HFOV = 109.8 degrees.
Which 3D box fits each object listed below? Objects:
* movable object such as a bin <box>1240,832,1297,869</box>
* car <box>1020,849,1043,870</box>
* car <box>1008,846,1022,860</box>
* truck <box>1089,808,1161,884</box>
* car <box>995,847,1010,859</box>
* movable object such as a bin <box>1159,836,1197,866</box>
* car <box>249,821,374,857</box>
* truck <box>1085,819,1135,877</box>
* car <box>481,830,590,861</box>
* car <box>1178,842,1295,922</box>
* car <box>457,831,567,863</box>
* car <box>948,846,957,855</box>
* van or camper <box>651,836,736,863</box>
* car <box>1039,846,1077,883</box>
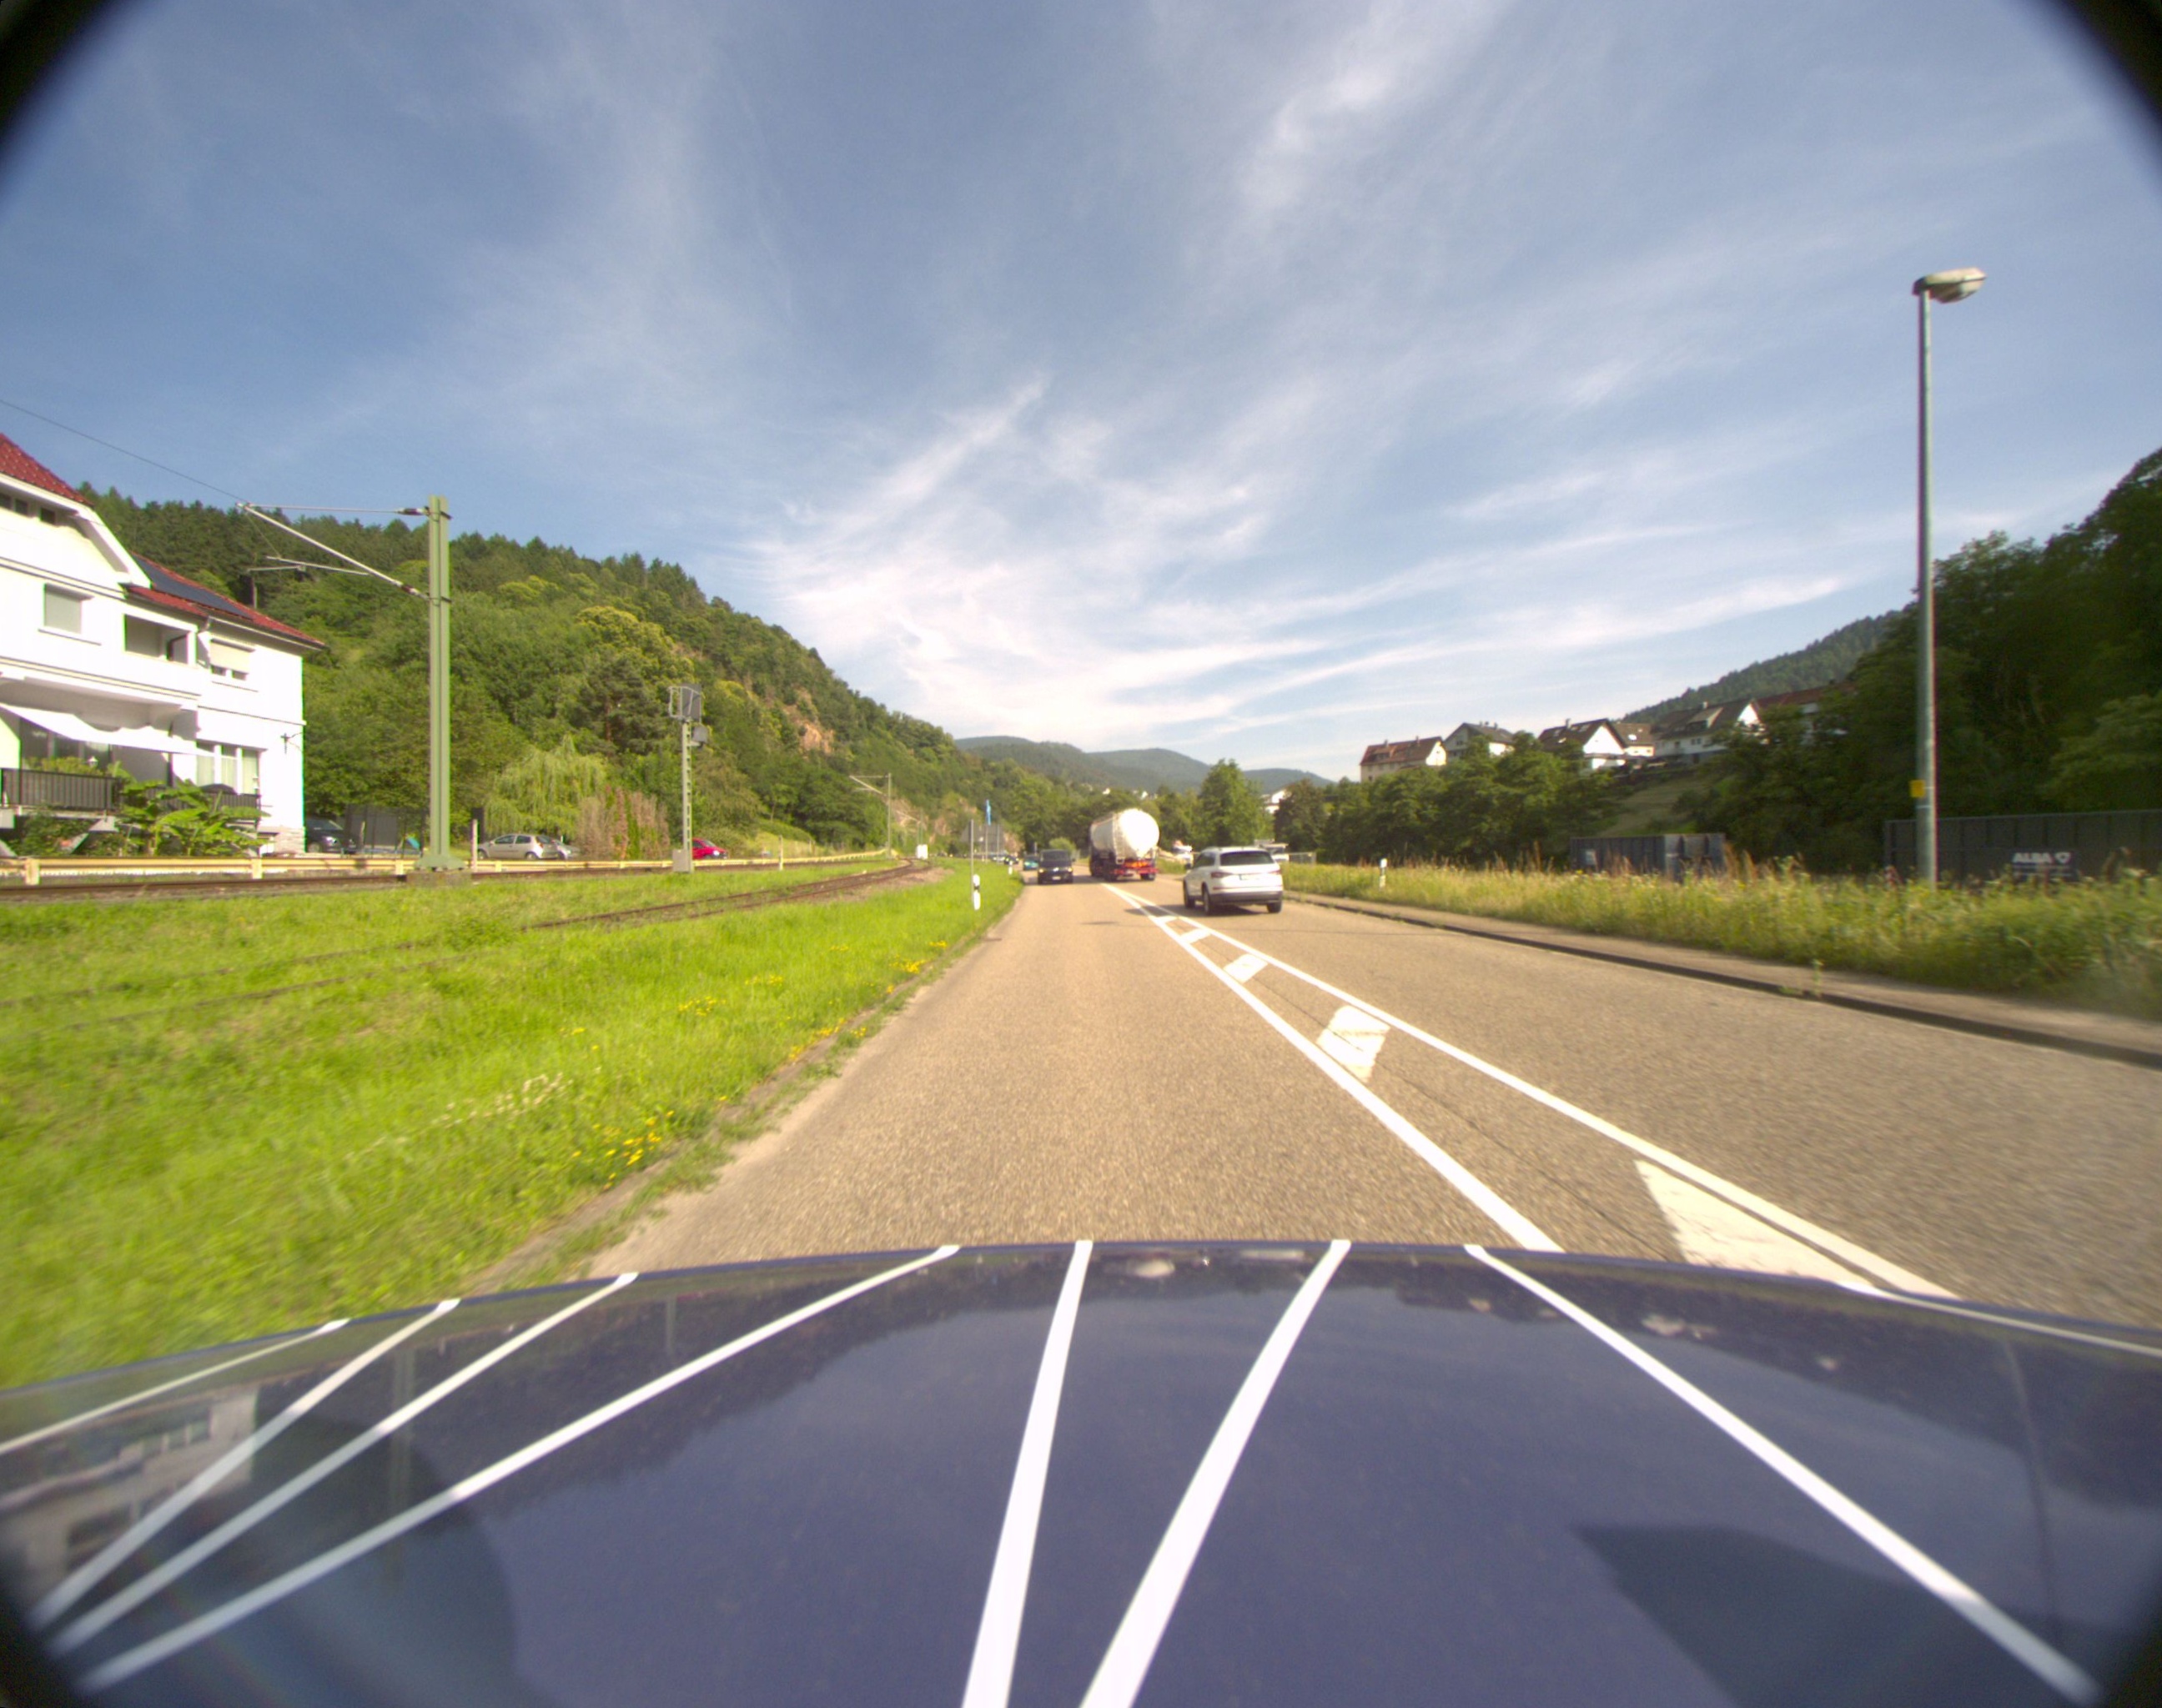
[{"bbox_3d":[21.255,-0.395,86.611,2.909,3.924,7.798,1,0,-14],"label":"movable object such as a bin"},{"bbox_3d":[-5.011,0.509,76.778,2.000,2.002,3.997,1,0,-7],"label":"car"},{"bbox_3d":[-9.536,-0.127,109.558,2.000,2.002,3.998,1,0,-5],"label":"car"},{"bbox_3d":[2.358,-0.431,46.554,2.757,3.813,14.557,-2,0,-3],"label":"truck"},{"bbox_3d":[-13.428,-0.175,129.373,2.001,2.002,3.995,1,0,-13],"label":"car"},{"bbox_3d":[13.214,-0.390,104.070,2.732,3.924,7.219,1,0,-14],"label":"movable object such as a bin"},{"bbox_3d":[-38.501,-0.725,38.111,3.999,1.674,1.999,1,-1,-6],"label":"car"},{"bbox_3d":[1.958,-0.393,54.961,2.757,3.813,8.195,-2,0,-3],"label":"truck"},{"bbox_3d":[-29.495,-0.436,41.195,4.326,1.521,1.999,1,-1,-6],"label":"car"},{"bbox_3d":[3.858,0.631,19.680,1.999,1.748,4.468,-3,0,-1],"label":"car"},{"bbox_3d":[-28.807,-0.341,38.571,3.999,1.521,1.999,1,-1,-6],"label":"car"},{"bbox_3d":[-32.004,-0.828,189.013,2.000,2.002,3.996,1,0,-9],"label":"car"},{"bbox_3d":[-29.846,-0.377,58.664,5.431,1.918,2.120,1,0,-1],"label":"van or camper"},{"bbox_3d":[-1.342,0.603,42.977,1.999,2.001,4.000,0,-2,-3],"label":"car"}]
